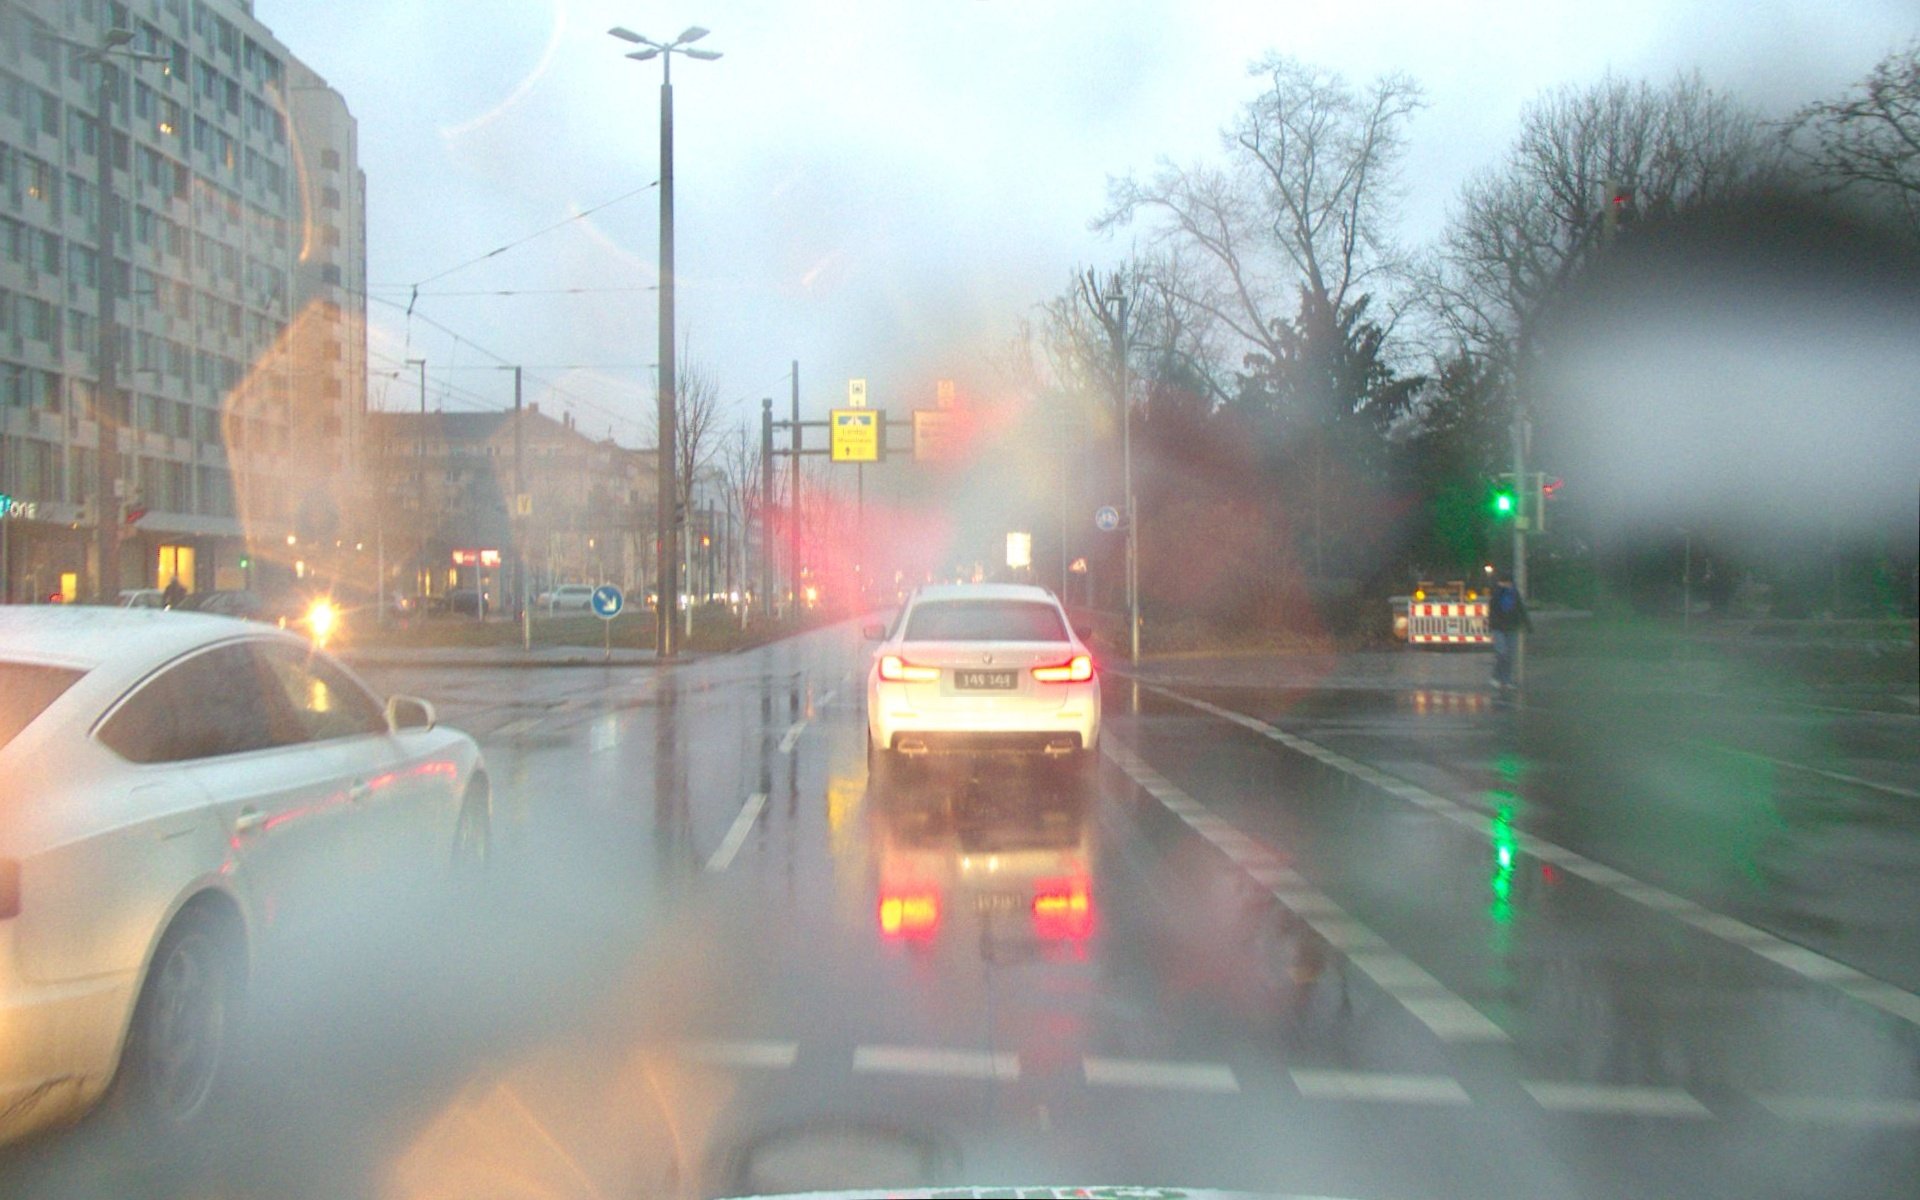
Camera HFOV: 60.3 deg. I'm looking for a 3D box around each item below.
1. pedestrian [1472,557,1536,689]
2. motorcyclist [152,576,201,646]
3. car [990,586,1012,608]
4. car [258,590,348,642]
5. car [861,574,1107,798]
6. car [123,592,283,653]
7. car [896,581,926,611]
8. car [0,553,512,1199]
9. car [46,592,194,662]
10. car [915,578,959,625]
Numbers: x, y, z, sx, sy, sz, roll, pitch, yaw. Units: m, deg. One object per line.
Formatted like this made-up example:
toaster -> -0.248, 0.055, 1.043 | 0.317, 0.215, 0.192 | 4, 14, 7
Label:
pedestrian -> 8.032, 0.338, 24.457 | 0.698, 1.912, 0.675 | 1, 0, 0
motorcyclist -> -21.914, 0.289, 46.289 | 0.853, 1.918, 1.033 | 1, 0, -1
car -> 3.882, -0.342, 158.892 | 1.953, 2.049, 4.000 | 1, 0, -1
car -> -20.516, 0.482, 51.807 | 1.960, 1.487, 5.075 | 1, 0, -15
car -> 0.051, 0.602, 13.979 | 1.725, 1.579, 4.248 | 1, 0, -4
car -> -20.263, 0.567, 44.529 | 1.953, 1.487, 5.094 | 1, 0, 0
car -> -3.419, -0.277, 116.182 | 1.953, 2.049, 4.000 | 1, 0, -1
car -> -2.787, 0.623, 5.226 | 1.724, 1.495, 4.249 | 1, 0, -3
car -> -23.465, 0.717, 46.404 | 1.843, 1.820, 4.598 | 1, 0, -1
car -> -1.069, 0.051, 76.563 | 1.953, 2.049, 4.000 | 1, 0, -1
